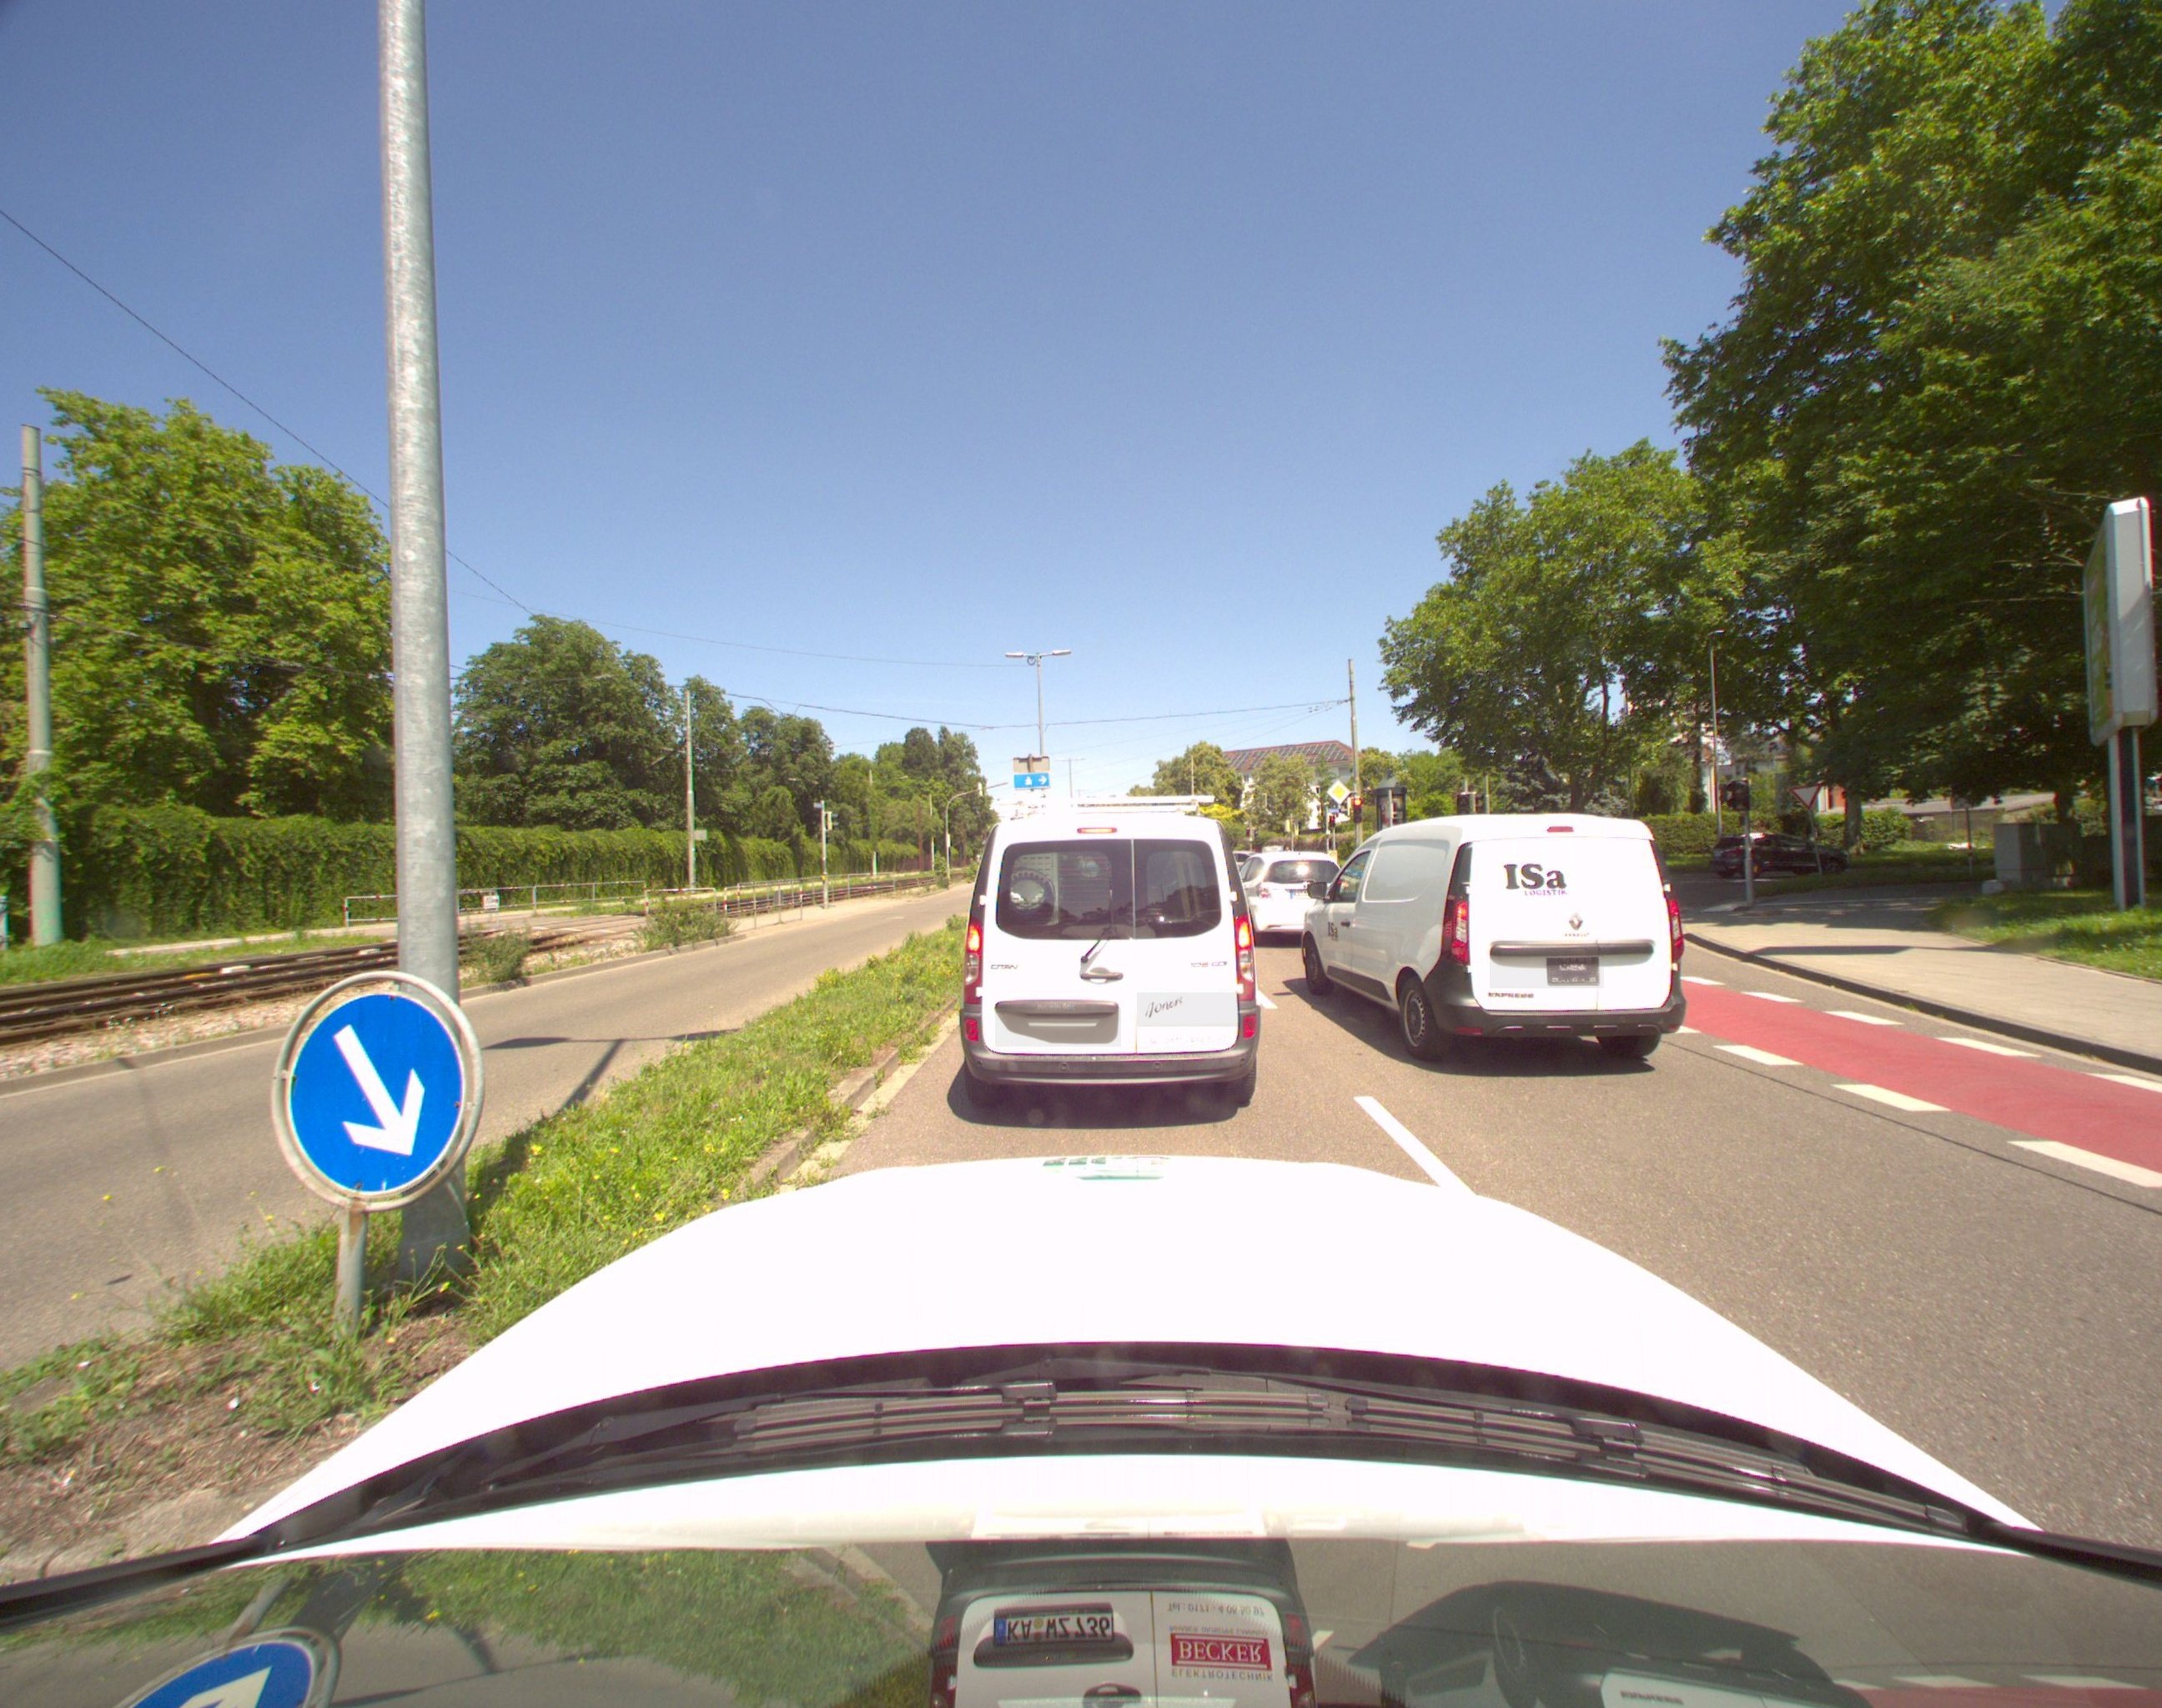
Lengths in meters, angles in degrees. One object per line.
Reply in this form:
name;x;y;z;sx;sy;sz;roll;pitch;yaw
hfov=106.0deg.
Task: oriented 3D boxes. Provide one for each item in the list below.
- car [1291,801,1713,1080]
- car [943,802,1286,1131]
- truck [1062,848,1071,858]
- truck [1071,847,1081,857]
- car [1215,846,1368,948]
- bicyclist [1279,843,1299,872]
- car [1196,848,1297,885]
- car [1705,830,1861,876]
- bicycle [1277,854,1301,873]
car;3.246;0.565;7.298;1.721;1.788;4.065;0;0;1
car;0.247;0.613;6.556;1.814;1.739;4.398;-1;0;2
truck;-3.937;-0.314;221.182;2.131;2.587;5.891;0;-1;2
truck;-1.299;-0.402;212.658;2.131;2.587;5.891;0;-1;2
car;3.609;0.658;14.685;1.828;1.568;4.002;0;0;2
bicyclist;13.144;0.210;51.470;0.971;1.788;0.725;-2;-1;-4
car;7.247;0.561;35.804;3.948;1.520;1.764;-2;-1;33
car;25.494;-0.017;29.723;3.958;1.597;1.706;-1;0;15
bicycle;13.116;0.575;51.490;0.890;1.159;1.954;-2;-1;-3
